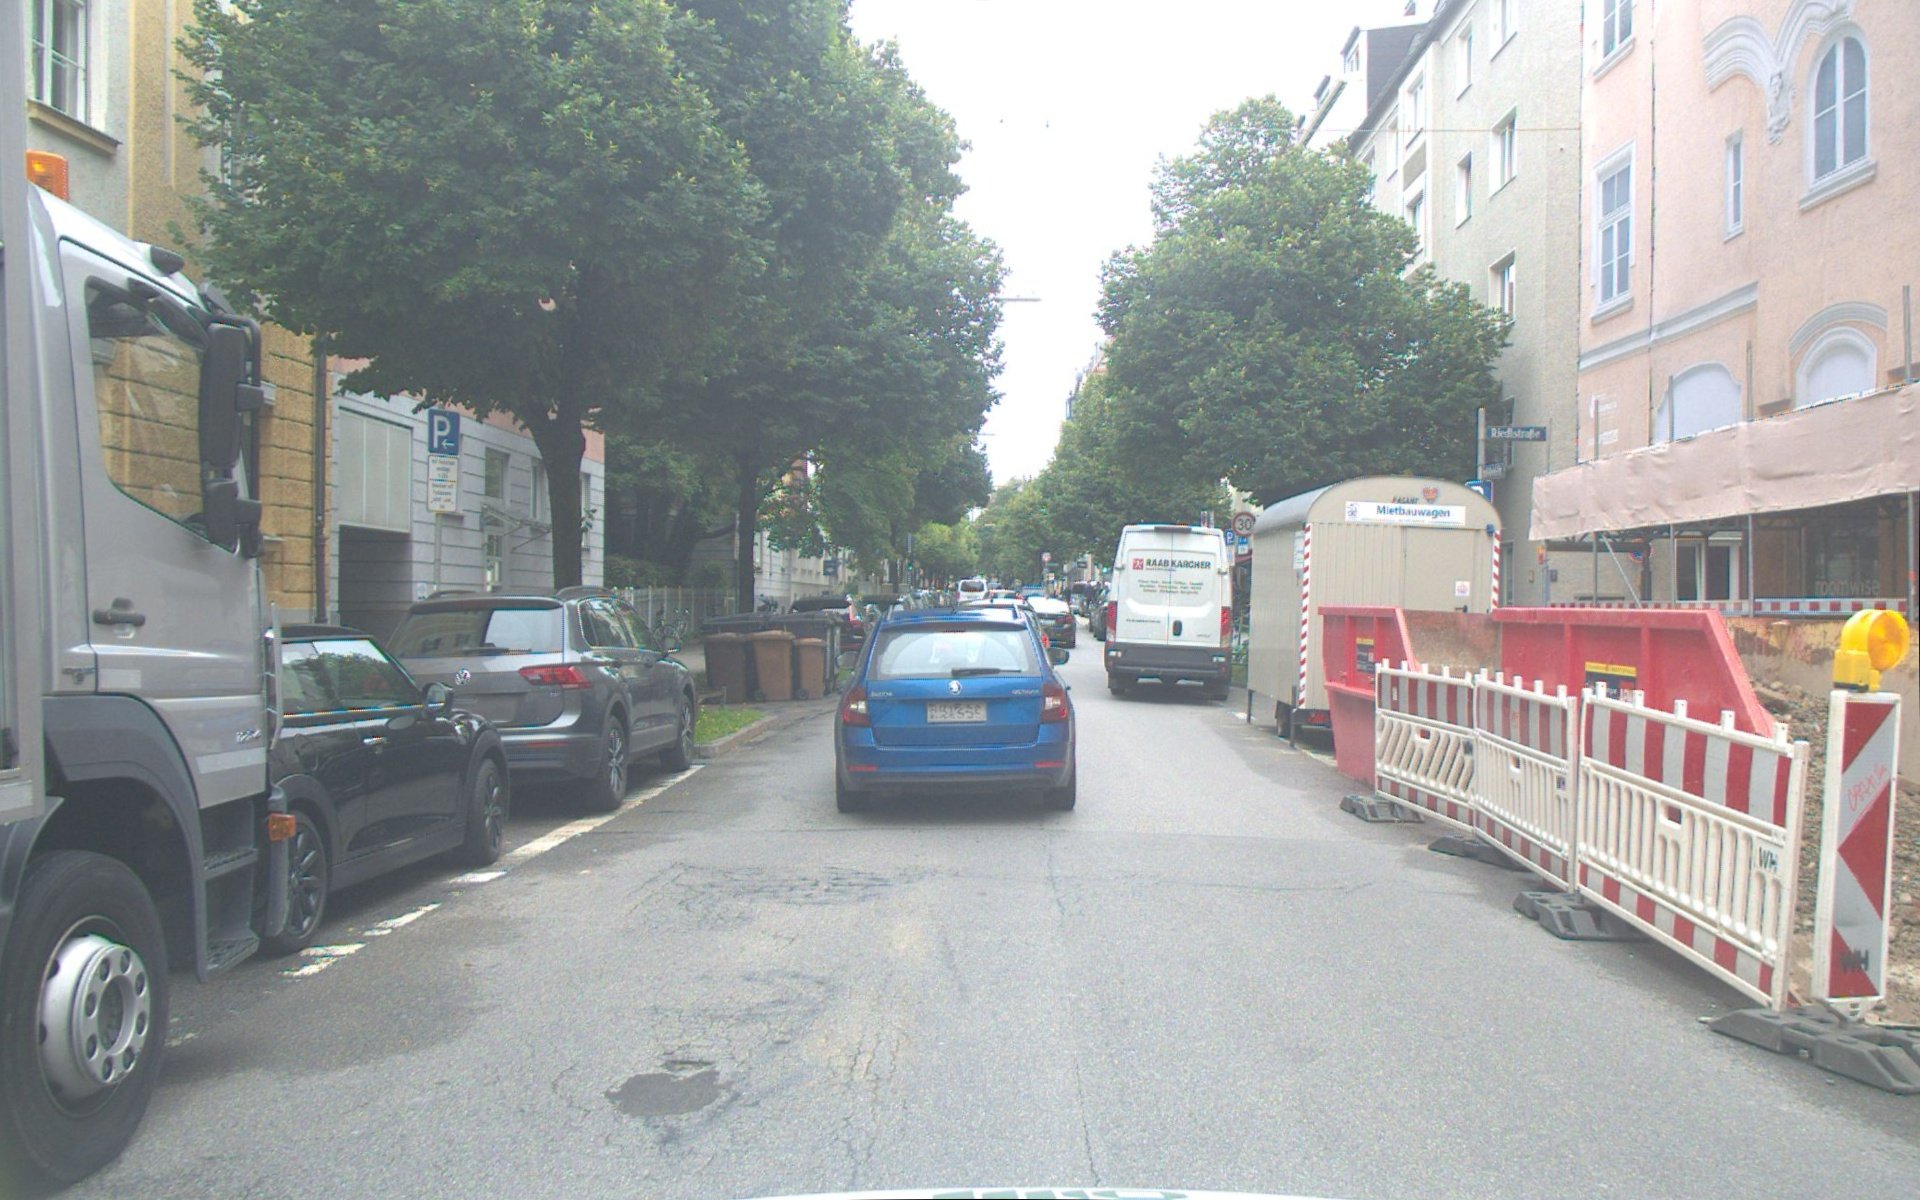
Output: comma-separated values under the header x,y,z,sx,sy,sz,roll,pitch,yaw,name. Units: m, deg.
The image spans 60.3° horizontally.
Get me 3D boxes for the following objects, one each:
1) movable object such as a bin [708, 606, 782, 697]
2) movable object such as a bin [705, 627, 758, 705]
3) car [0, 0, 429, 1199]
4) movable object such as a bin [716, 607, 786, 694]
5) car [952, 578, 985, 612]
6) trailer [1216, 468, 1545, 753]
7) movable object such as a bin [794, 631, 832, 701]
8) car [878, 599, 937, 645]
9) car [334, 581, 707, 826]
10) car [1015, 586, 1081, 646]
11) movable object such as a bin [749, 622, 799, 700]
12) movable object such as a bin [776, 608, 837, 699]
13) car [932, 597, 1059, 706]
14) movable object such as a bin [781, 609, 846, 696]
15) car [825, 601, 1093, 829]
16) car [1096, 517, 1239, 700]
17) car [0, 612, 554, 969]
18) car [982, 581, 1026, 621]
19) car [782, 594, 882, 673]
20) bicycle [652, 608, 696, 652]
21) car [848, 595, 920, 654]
x,y,z,sx,sy,sz,roll,pitch,yaw,name
-3.446,0.809,26.614,1.060,1.400,1.083,-1,0,-3,movable object such as a bin
-3.550,1.016,25.727,0.706,1.158,0.658,-2,0,-2,movable object such as a bin
-3.422,-0.467,1.716,2.754,3.884,8.724,0,0,1,car
-3.490,0.834,27.715,1.036,1.400,1.095,-1,0,-3,movable object such as a bin
0.537,-0.315,98.081,1.829,1.902,4.348,2,0,1,car
4.910,0.135,20.646,2.450,2.889,6.902,2,-1,1,trailer
-2.288,1.024,25.821,0.535,1.038,0.636,-1,0,-2,movable object such as a bin
-1.772,0.742,57.271,1.775,1.504,4.001,1,0,1,car
-3.322,0.704,13.379,1.748,1.657,4.186,-1,0,2,car
2.662,0.454,50.796,1.829,1.726,4.348,2,0,1,car
-2.897,0.940,25.771,0.697,1.168,0.636,-1,0,-2,movable object such as a bin
-2.469,0.850,26.679,0.899,1.400,1.079,-1,0,-3,movable object such as a bin
0.568,0.712,24.187,1.705,1.446,3.665,-1,-1,3,car
-2.454,0.865,27.777,0.999,1.400,1.103,-1,0,-3,movable object such as a bin
0.058,0.761,12.990,1.752,1.486,4.315,0,0,2,car
3.480,0.157,27.770,2.068,2.710,5.504,2,-1,7,car
-3.489,0.783,8.572,1.663,1.434,3.710,0,0,3,car
1.990,0.013,76.102,1.829,1.726,4.347,2,0,0,car
-2.608,0.651,34.505,1.775,1.504,4.000,1,0,0,car
-7.423,0.753,42.982,0.621,1.086,2.388,0,0,2,bicycle
-2.035,0.632,45.231,1.775,1.504,4.000,1,0,0,car
